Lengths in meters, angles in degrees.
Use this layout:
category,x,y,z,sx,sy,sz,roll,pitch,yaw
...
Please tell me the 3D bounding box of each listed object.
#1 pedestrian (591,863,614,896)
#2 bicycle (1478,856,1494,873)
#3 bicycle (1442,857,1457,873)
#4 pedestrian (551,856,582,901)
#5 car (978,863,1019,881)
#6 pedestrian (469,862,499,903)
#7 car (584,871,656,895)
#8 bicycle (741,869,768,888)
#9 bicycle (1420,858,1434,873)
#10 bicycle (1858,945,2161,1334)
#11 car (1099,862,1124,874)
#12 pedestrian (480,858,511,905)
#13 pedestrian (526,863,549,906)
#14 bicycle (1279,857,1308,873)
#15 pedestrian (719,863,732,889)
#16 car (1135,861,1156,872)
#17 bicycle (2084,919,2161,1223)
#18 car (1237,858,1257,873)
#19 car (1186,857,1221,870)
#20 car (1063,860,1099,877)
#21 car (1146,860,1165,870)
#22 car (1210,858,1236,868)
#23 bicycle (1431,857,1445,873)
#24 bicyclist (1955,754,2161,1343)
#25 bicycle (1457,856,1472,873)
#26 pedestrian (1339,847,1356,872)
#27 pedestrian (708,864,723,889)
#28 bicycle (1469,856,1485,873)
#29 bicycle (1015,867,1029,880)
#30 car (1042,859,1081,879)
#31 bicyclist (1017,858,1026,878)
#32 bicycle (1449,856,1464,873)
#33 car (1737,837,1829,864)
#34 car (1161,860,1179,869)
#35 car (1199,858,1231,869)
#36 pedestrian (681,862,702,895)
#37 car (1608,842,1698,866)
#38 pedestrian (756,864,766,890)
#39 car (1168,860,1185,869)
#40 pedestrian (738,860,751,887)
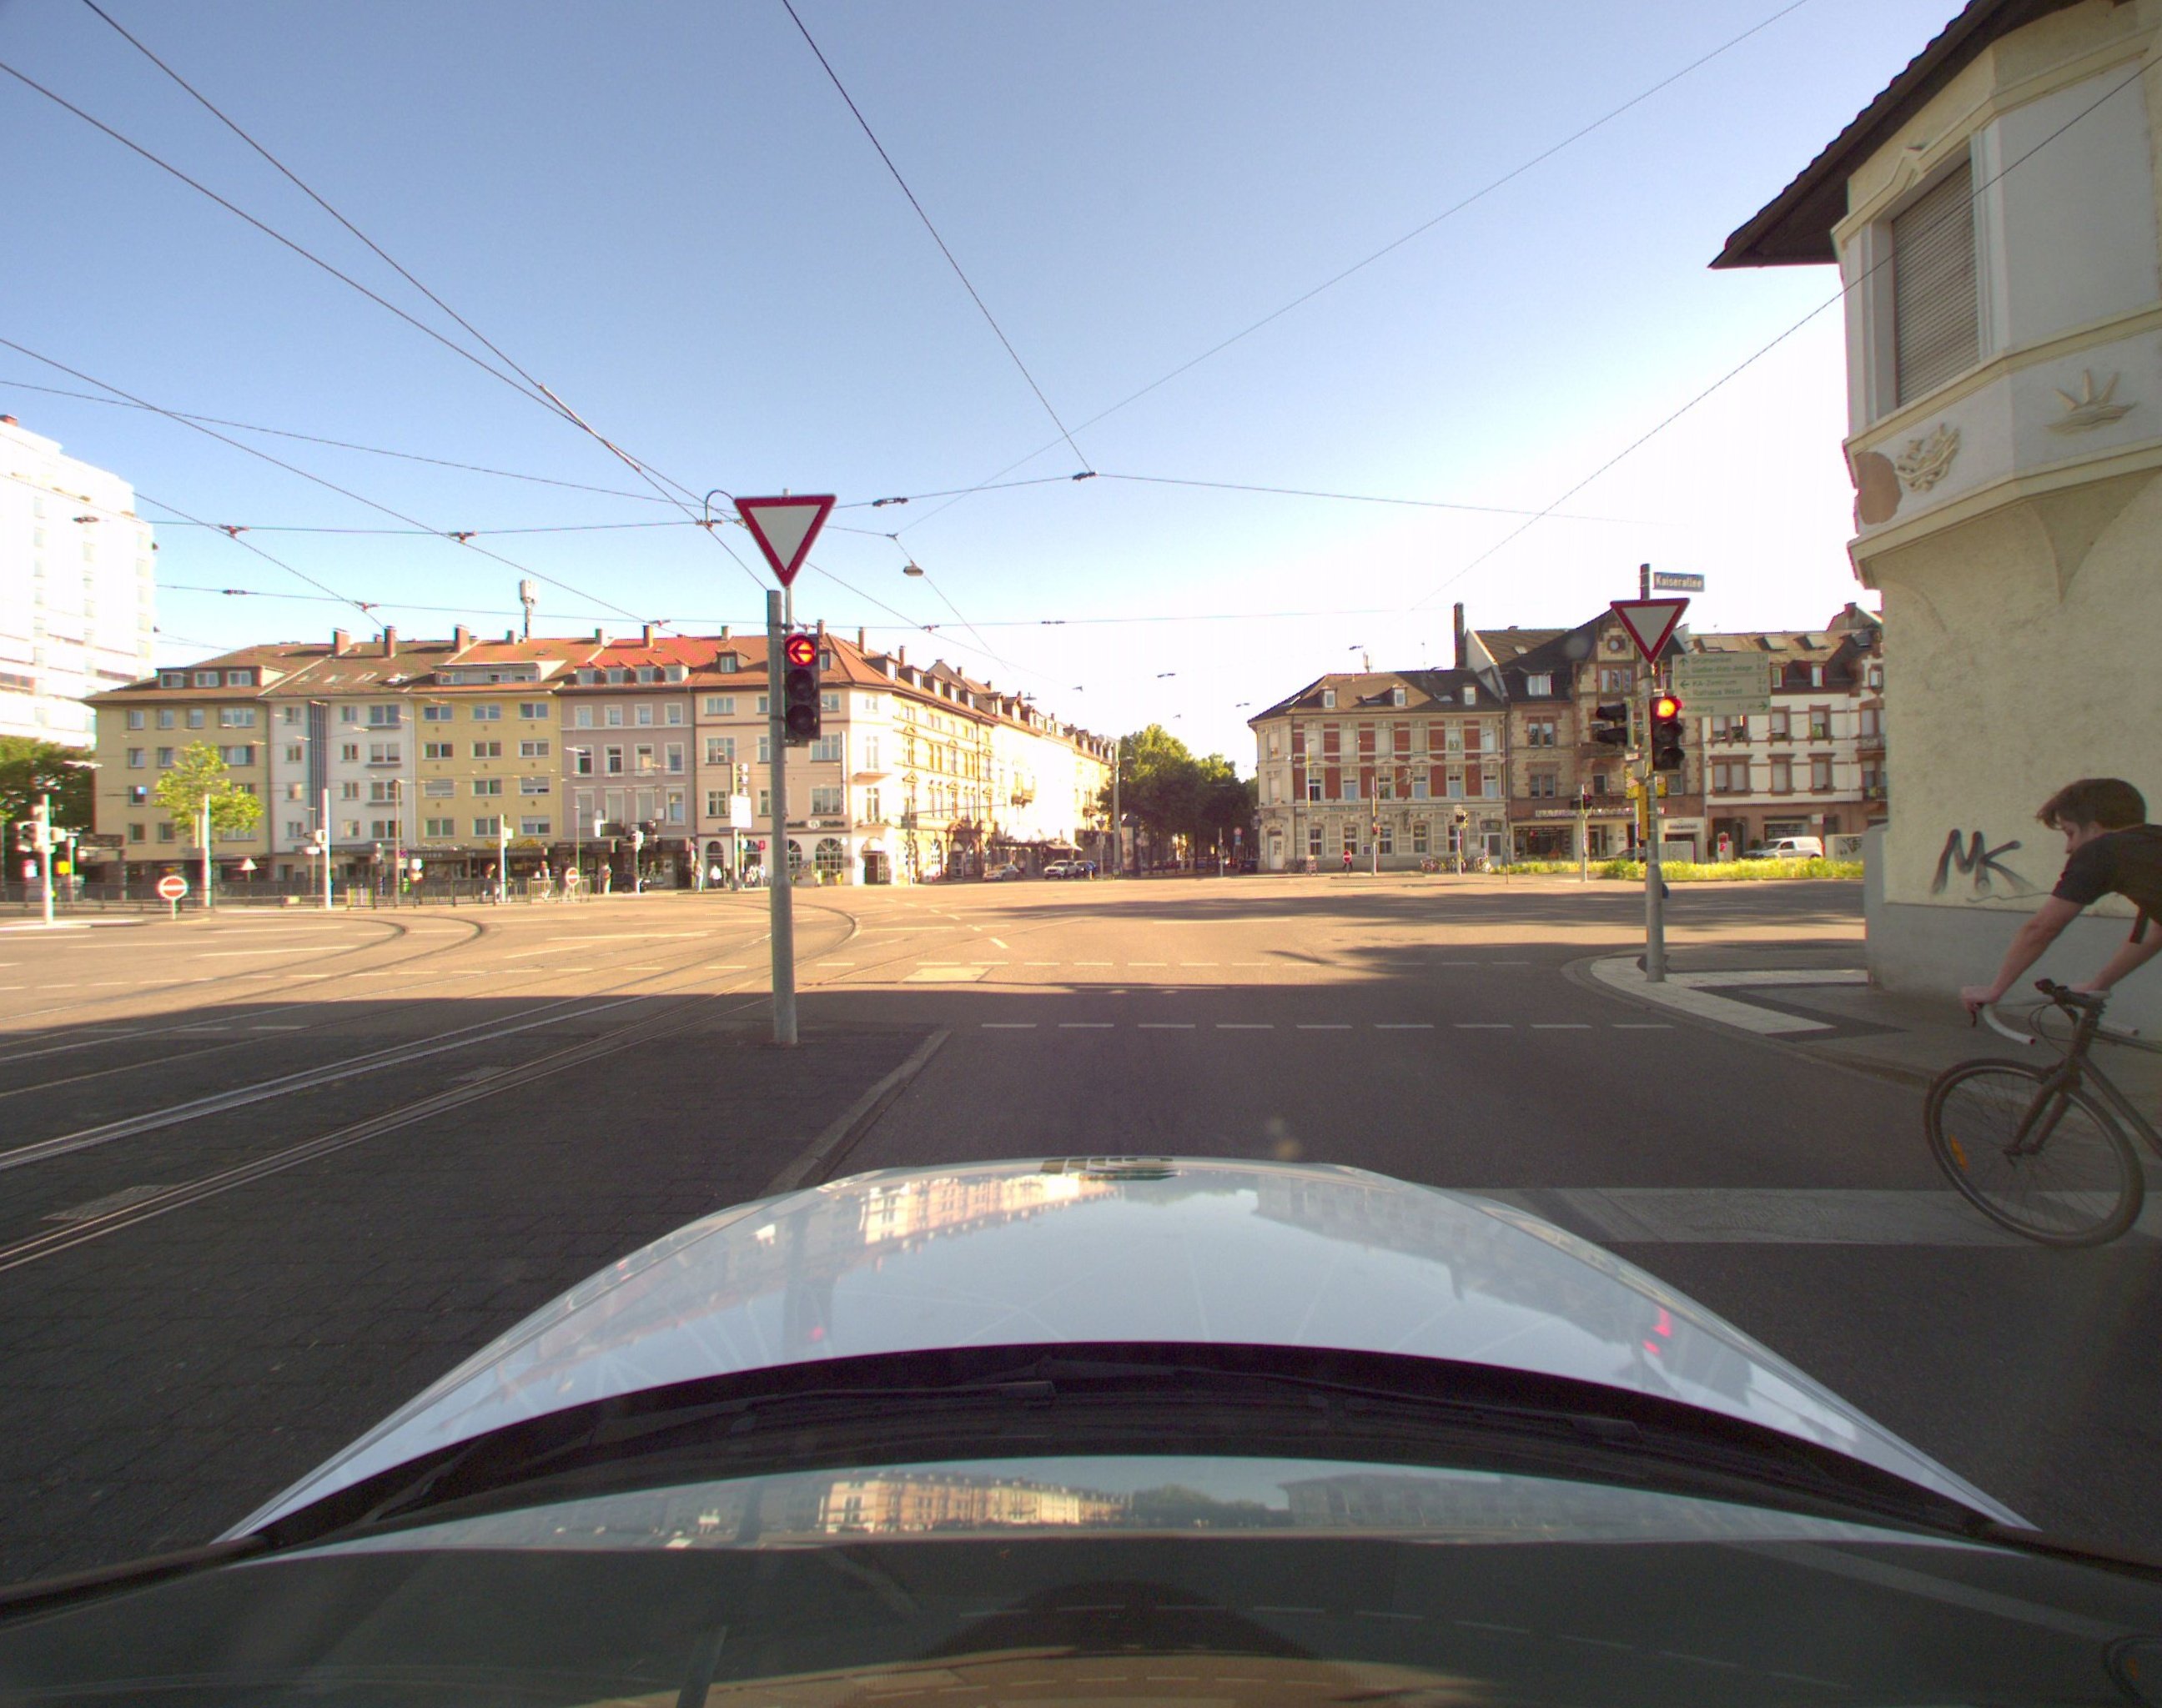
category,x,y,z,sx,sy,sz,roll,pitch,yaw
pedestrian,-24.908,1.307,42.374,0.764,1.682,0.628,-1,0,1
bicycle,26.332,0.669,52.906,0.483,1.020,1.789,-1,0,12
bicycle,23.853,0.685,52.744,0.483,1.020,1.789,-1,0,12
pedestrian,-21.270,1.014,33.675,0.764,1.829,0.723,-1,0,1
car,-6.758,1.478,67.355,1.977,1.361,3.836,-1,0,18
pedestrian,-24.110,1.142,32.898,0.738,1.635,0.572,-1,0,1
car,-30.334,1.901,53.695,3.711,1.491,1.820,0,-1,4
bicycle,-23.069,1.735,57.631,1.714,1.276,0.385,-1,0,-16
bicycle,22.481,0.733,52.967,0.483,0.914,1.789,-1,0,12
bicycle,3.552,0.920,2.493,0.568,1.058,1.890,-1,0,2
car,3.837,1.713,102.166,1.977,1.404,4.189,-1,0,18
pedestrian,-23.288,1.085,32.425,0.625,1.850,0.778,-1,0,1
pedestrian,-22.910,1.281,34.345,0.558,1.786,0.560,-1,0,1
bicycle,14.912,0.752,57.129,1.940,1.054,0.717,-1,0,11
pedestrian,-23.076,1.409,52.926,0.744,1.682,0.623,-1,0,-23
car,9.252,1.815,116.814,1.977,1.404,4.189,-1,0,18
bicycle,4.495,0.859,2.479,0.568,1.165,1.890,-1,0,2
car,16.802,1.133,82.283,1.742,1.420,4.016,-1,0,14
car,14.967,1.157,99.497,3.959,1.454,1.687,-1,0,13
car,0.032,1.312,73.798,1.977,1.404,4.189,-1,0,18
car,11.207,1.691,122.492,1.977,1.404,4.189,-1,0,18
car,19.386,1.216,111.179,3.409,1.239,1.582,-1,0,13
bicycle,23.157,0.723,52.863,0.483,1.020,1.789,-1,0,12
bicyclist,3.550,0.577,2.491,0.649,1.767,0.995,-1,0,2
bicycle,24.816,0.678,52.703,0.483,1.020,1.789,-1,0,12
pedestrian,18.478,0.352,56.405,1.029,1.712,0.631,-1,-1,10
pedestrian,-25.497,1.578,56.793,0.740,1.682,0.626,-1,0,-10
bicycle,25.627,0.672,52.751,0.483,1.020,1.789,-1,0,12
bicycle,-4.762,1.532,65.561,0.650,1.000,1.671,-1,-1,14
car,-1.589,1.219,67.661,1.977,1.516,4.189,-1,0,18
bicyclist,-4.768,1.094,65.463,0.486,1.601,0.668,-1,0,12
bicycle,24.313,0.682,52.794,0.483,1.020,1.789,-1,0,12
car,45.290,-0.242,52.587,4.239,1.622,1.999,-1,0,-1
car,14.338,1.711,131.250,1.977,1.404,4.189,-1,0,18
car,17.341,1.227,105.151,3.959,1.288,1.700,-1,0,13
pedestrian,-20.192,1.276,42.262,0.738,1.682,0.628,-1,0,1
car,33.350,-0.013,47.551,4.044,1.300,1.723,-1,0,2
pedestrian,-15.786,1.134,40.216,0.364,1.253,0.449,-1,0,-10
car,16.039,1.740,136.408,1.977,1.404,4.189,-1,0,18
pedestrian,-21.792,1.265,52.723,0.744,1.682,0.623,-1,0,-23
